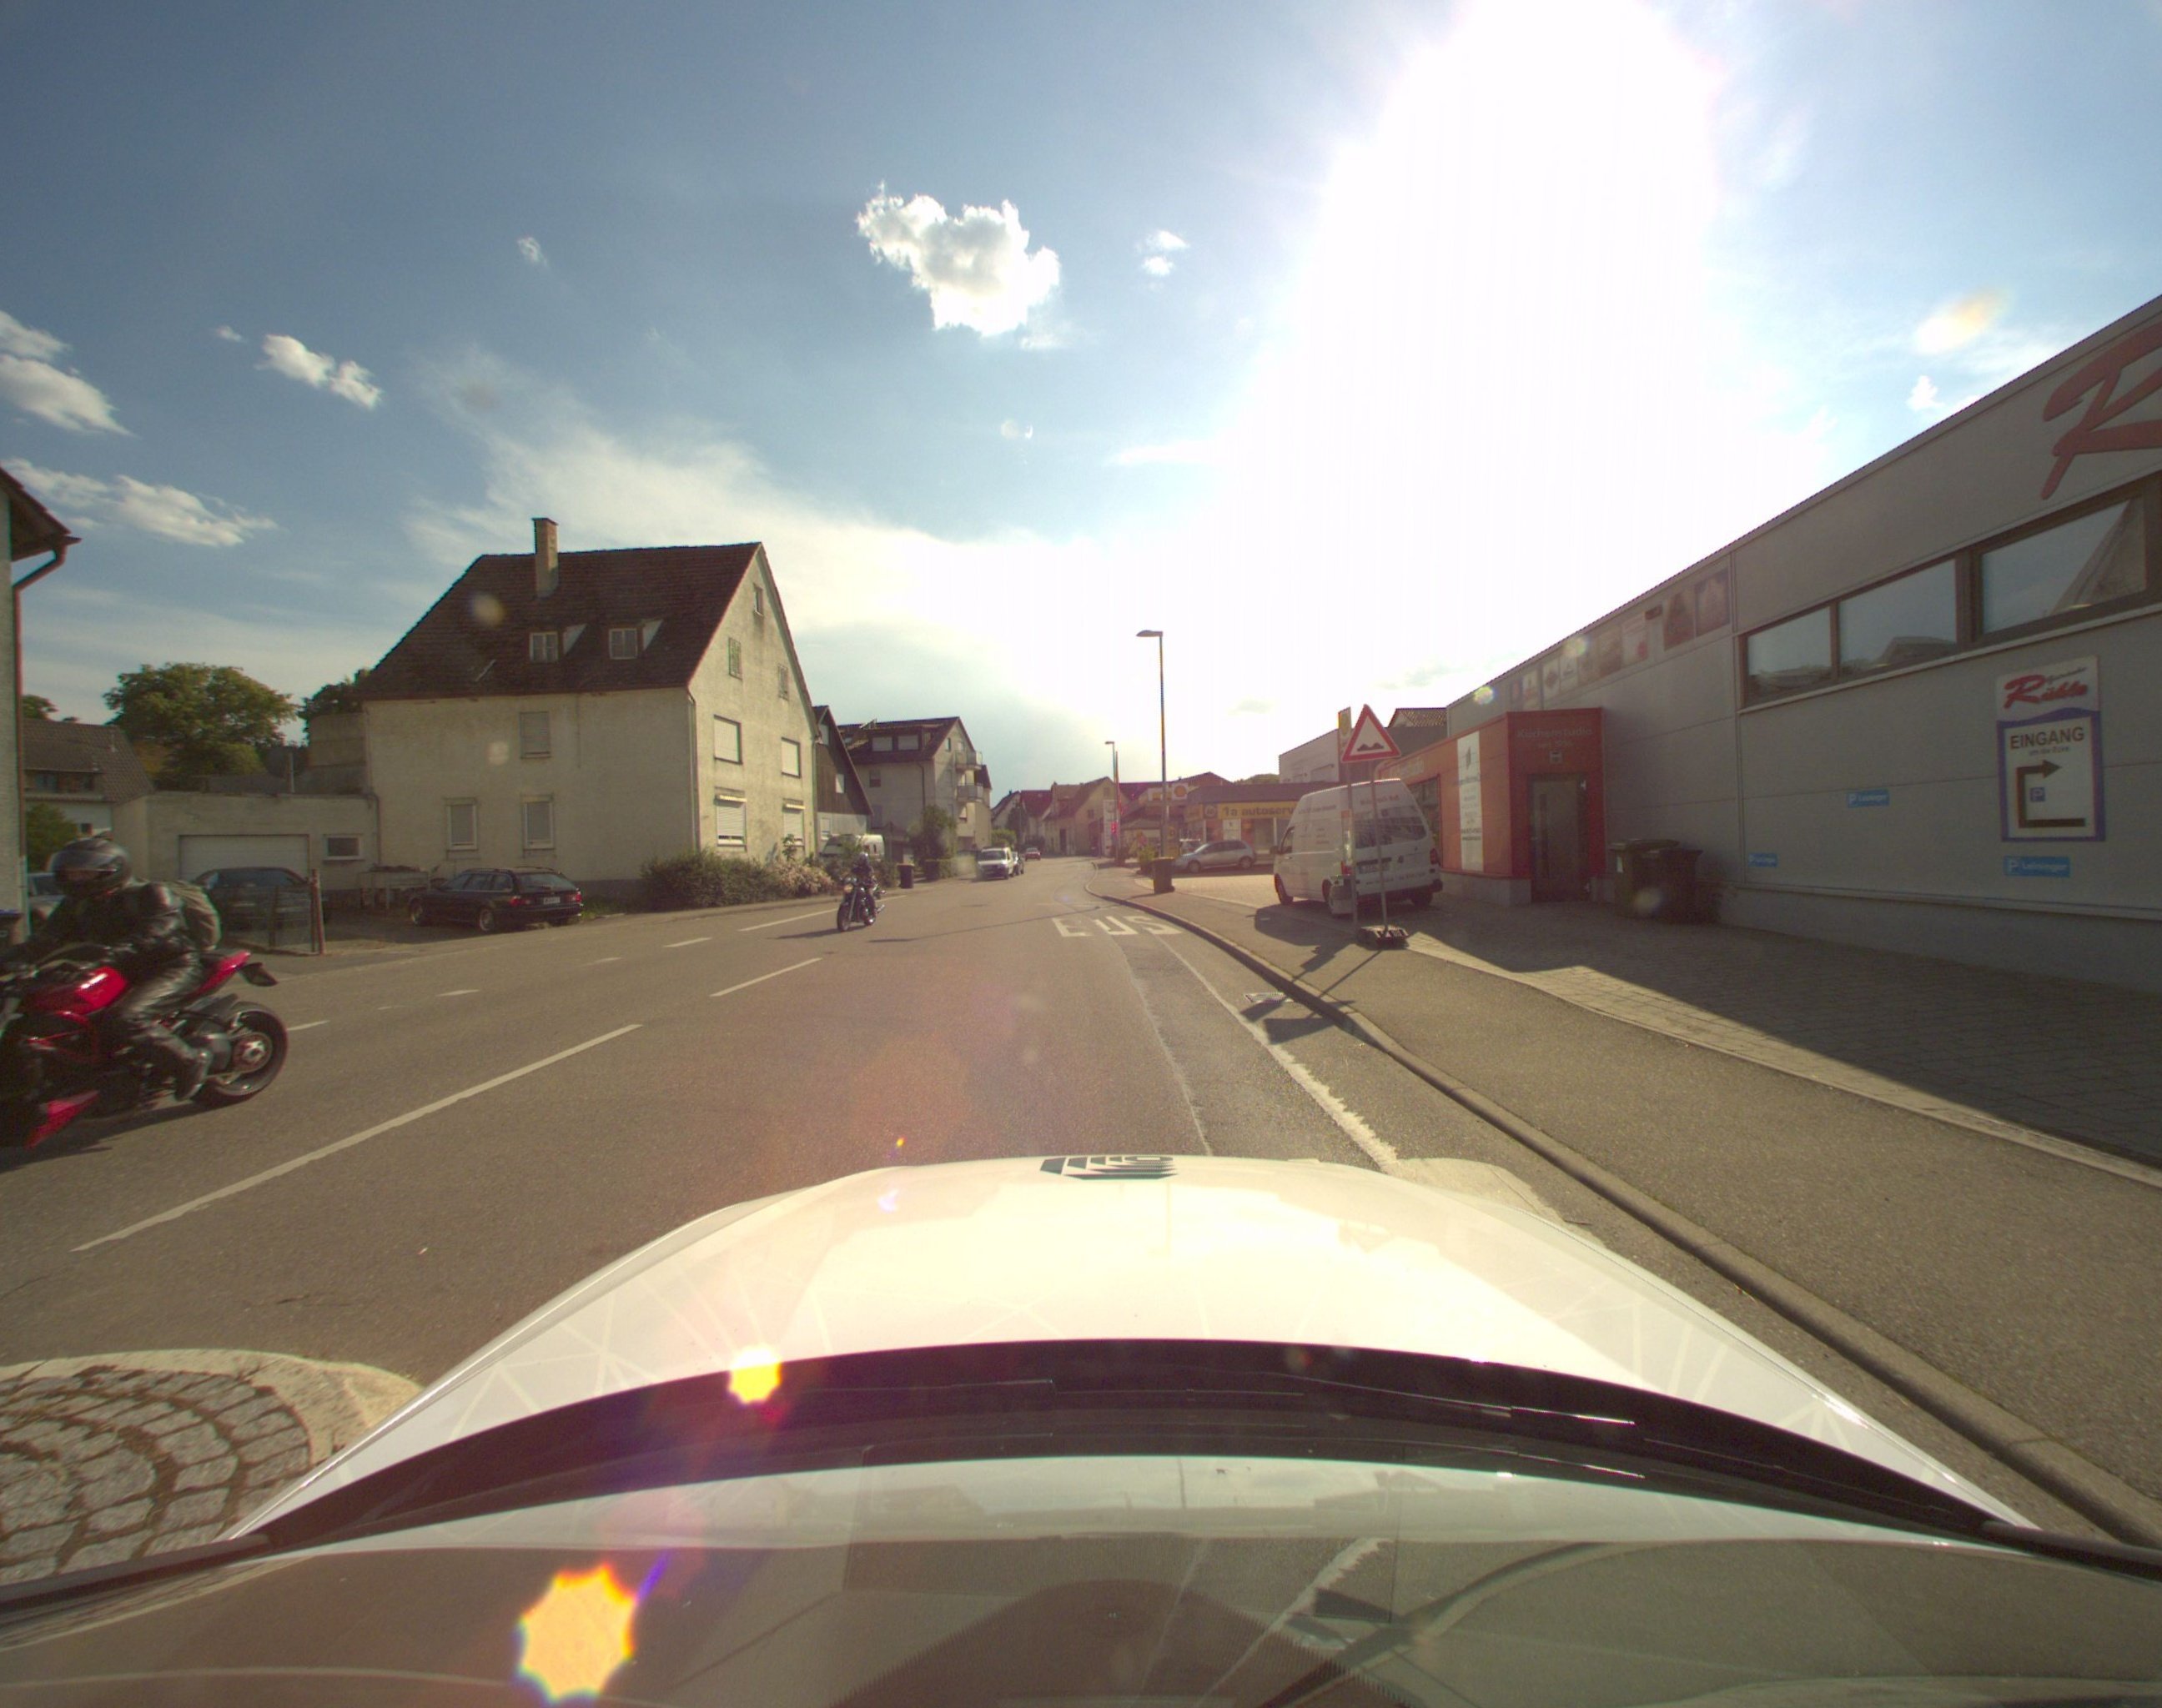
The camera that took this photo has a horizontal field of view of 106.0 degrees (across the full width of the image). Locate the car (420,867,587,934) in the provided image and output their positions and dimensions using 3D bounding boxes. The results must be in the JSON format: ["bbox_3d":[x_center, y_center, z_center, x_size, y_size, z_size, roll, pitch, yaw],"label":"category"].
[{"bbox_3d":[-14.000,1.060,19.701,3.949,1.433,1.663,0,1,28],"label":"car"}]

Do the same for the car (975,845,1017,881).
[{"bbox_3d":[-4.767,0.454,46.230,1.710,1.872,4.194,-3,0,2],"label":"car"}]

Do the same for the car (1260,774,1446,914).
[{"bbox_3d":[5.338,-0.187,16.853,1.832,2.374,5.173,-3,0,-3],"label":"car"}]

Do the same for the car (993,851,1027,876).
[{"bbox_3d":[-4.455,0.583,51.839,1.666,1.451,3.836,-3,1,2],"label":"car"}]

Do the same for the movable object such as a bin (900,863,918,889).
[{"bbox_3d":[-7.463,0.942,35.312,0.608,1.101,0.576,-1,-1,1],"label":"movable object such as a bin"}]

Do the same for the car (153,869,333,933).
[{"bbox_3d":[-20.430,1.093,19.862,3.952,1.361,1.696,0,1,23],"label":"car"}]

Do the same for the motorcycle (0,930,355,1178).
[{"bbox_3d":[-5.399,1.041,4.716,0.536,1.012,2.028,0,0,1],"label":"motorcycle"}]

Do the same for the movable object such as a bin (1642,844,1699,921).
[{"bbox_3d":[7.590,0.355,10.500,0.426,0.966,0.431,-2,0,8],"label":"movable object such as a bin"}]

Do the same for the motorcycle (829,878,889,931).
[{"bbox_3d":[-4.654,1.037,17.231,0.522,1.012,2.031,0,0,6],"label":"motorcycle"}]

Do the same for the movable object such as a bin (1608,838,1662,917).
[{"bbox_3d":[7.600,0.312,11.187,0.426,1.042,0.491,-2,0,8],"label":"movable object such as a bin"}]

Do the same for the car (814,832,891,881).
[{"bbox_3d":[-13.014,0.107,46.958,2.148,2.595,6.104,-1,1,5],"label":"car"}]

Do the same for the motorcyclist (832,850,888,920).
[{"bbox_3d":[-4.655,0.636,17.179,0.798,1.436,1.038,-1,0,6],"label":"motorcyclist"}]

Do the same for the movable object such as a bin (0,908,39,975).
[{"bbox_3d":[-15.352,1.251,11.673,0.358,0.925,0.402,-2,-1,17],"label":"movable object such as a bin"}]

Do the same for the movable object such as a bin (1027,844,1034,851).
[{"bbox_3d":[-9.066,-1.111,145.067,1.161,1.168,0.652,-2,1,-12],"label":"movable object such as a bin"}]

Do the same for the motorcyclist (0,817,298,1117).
[{"bbox_3d":[-5.391,0.578,4.684,0.733,1.527,1.017,1,-1,1],"label":"motorcyclist"}]

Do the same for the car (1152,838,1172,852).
[{"bbox_3d":[8.430,-0.936,85.297,1.573,1.427,4.379,-1,1,-1],"label":"car"}]

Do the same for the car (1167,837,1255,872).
[{"bbox_3d":[6.436,0.009,40.463,3.984,1.531,1.523,-2,0,-8],"label":"car"}]

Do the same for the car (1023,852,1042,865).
[{"bbox_3d":[-5.731,0.518,96.108,1.709,1.434,3.767,-4,0,-10],"label":"car"}]

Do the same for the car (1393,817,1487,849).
[{"bbox_3d":[17.747,-1.054,40.350,3.896,1.408,1.715,-2,2,-4],"label":"car"}]

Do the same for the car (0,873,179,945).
[{"bbox_3d":[-22.681,1.179,18.490,3.952,1.413,1.696,0,1,23],"label":"car"}]

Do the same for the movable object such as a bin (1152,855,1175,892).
[{"bbox_3d":[2.509,0.596,24.926,0.566,1.075,0.572,-3,0,-4],"label":"movable object such as a bin"}]

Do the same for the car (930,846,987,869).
[{"bbox_3d":[-9.605,0.265,63.760,3.961,1.538,1.769,3,1,11],"label":"car"}]
